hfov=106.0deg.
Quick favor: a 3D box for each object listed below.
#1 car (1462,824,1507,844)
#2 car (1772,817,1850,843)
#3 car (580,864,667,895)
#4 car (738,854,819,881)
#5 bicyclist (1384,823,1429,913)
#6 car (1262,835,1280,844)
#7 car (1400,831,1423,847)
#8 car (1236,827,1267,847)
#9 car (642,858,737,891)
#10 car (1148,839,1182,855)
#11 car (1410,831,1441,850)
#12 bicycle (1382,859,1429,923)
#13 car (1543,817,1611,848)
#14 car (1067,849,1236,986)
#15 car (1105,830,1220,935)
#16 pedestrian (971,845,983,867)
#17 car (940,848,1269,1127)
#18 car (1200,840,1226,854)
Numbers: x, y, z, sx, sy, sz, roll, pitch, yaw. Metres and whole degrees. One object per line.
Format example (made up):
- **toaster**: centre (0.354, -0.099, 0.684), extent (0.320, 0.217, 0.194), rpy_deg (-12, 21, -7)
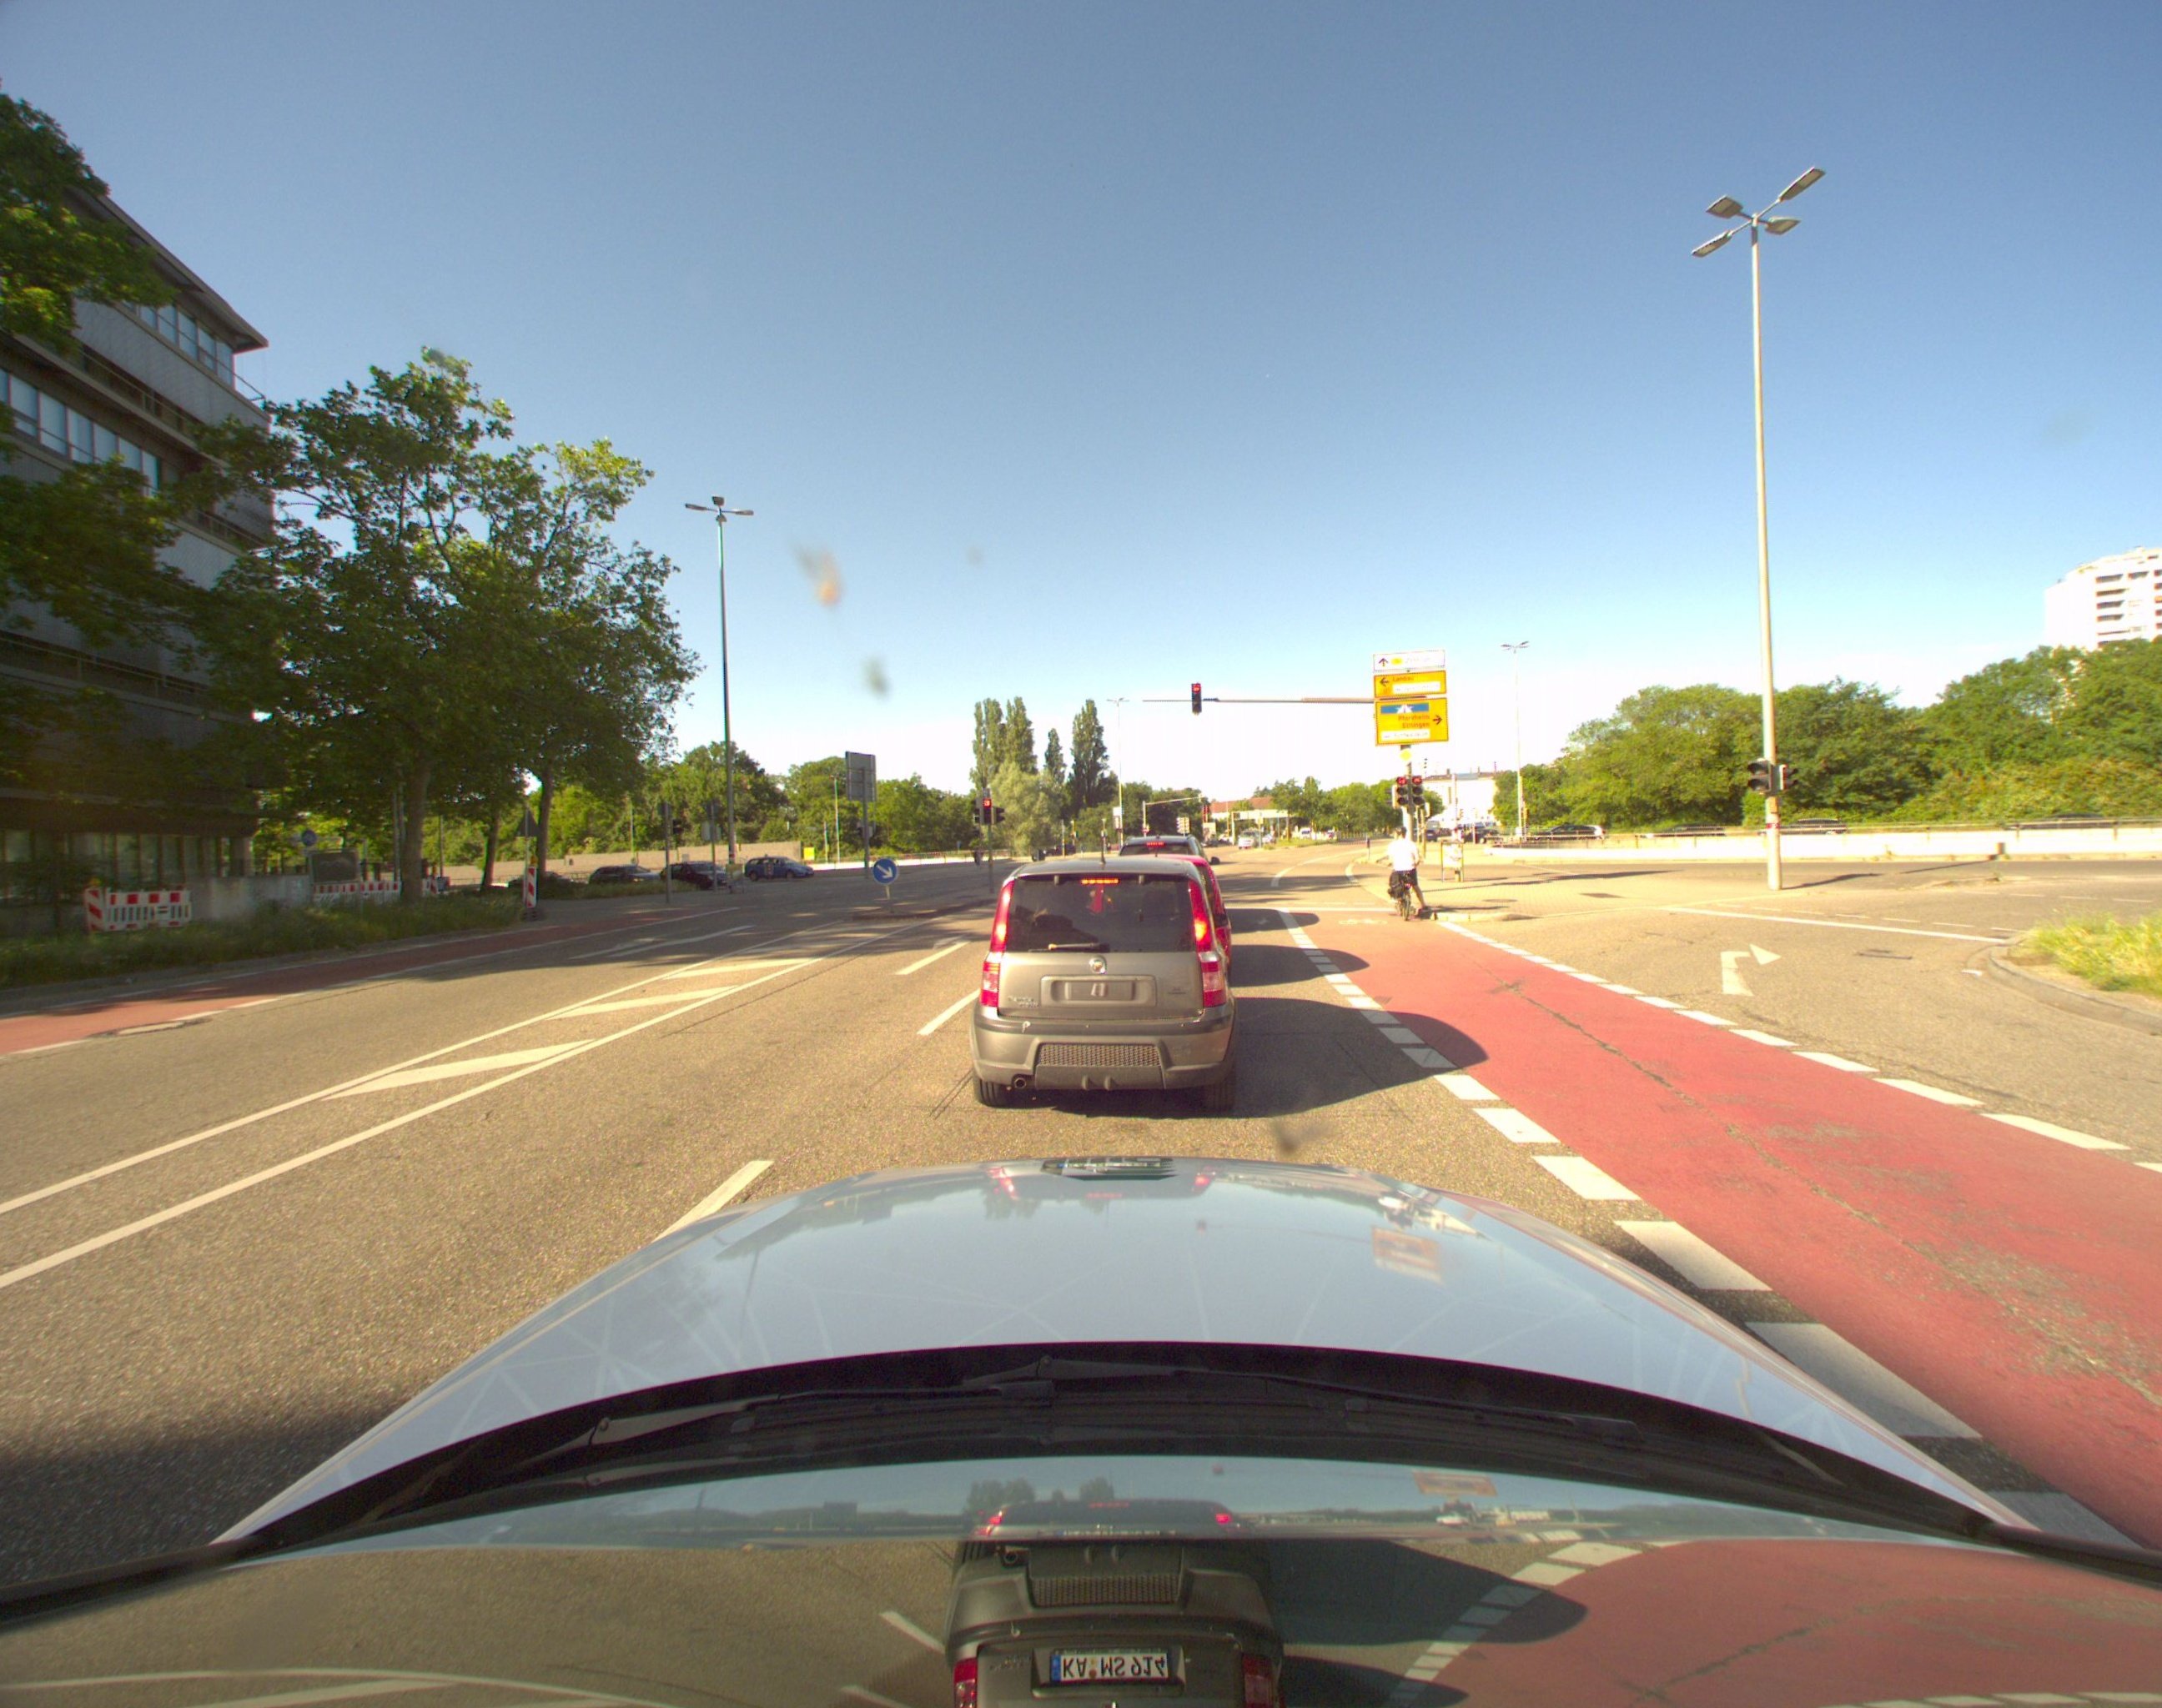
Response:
- **car**: centre (37.747, -1.874, 76.276), extent (1.989, 1.661, 3.996), rpy_deg (-3, 2, -3)
- **car**: centre (50.617, -1.670, 56.550), extent (3.948, 1.618, 1.739), rpy_deg (-1, 1, 40)
- **car**: centre (-24.961, 1.391, 44.430), extent (4.396, 1.438, 1.836), rpy_deg (-2, 1, 24)
- **car**: centre (-18.861, 0.829, 50.814), extent (4.403, 1.438, 1.834), rpy_deg (-2, 0, 15)
- **bicyclist**: centre (6.430, 0.267, 16.055), extent (0.792, 1.705, 1.091), rpy_deg (0, 0, 23)
- **car**: centre (35.652, -2.667, 152.520), extent (1.994, 1.545, 4.917), rpy_deg (-2, 1, 28)
- **car**: centre (39.659, -1.751, 97.732), extent (1.979, 1.750, 4.014), rpy_deg (-1, -2, 13)
- **car**: centre (18.128, -1.736, 86.458), extent (1.994, 1.855, 4.914), rpy_deg (-2, -2, 26)
- **car**: centre (-19.644, 1.040, 40.872), extent (4.396, 1.438, 1.836), rpy_deg (-2, 1, 24)
- **car**: centre (11.017, -0.909, 106.315), extent (1.993, 1.855, 4.916), rpy_deg (-3, -2, 41)
- **car**: centre (37.772, -1.478, 89.363), extent (2.001, 1.855, 4.898), rpy_deg (-1, -2, 9)
- **bicycle**: centre (6.385, 0.683, 15.943), extent (0.792, 1.110, 2.415), rpy_deg (0, 0, 23)
- **car**: centre (36.389, -1.552, 59.748), extent (3.948, 2.014, 2.012), rpy_deg (-3, -2, 40)
- **car**: centre (0.923, 0.685, 10.830), extent (1.811, 1.479, 4.005), rpy_deg (0, 0, 5)
- **car**: centre (1.769, 0.445, 16.194), extent (1.857, 1.790, 4.428), rpy_deg (0, 1, 11)
- **pedestrian**: centre (-7.692, 0.180, 60.468), extent (0.684, 1.538, 1.365), rpy_deg (-1, -5, 0)
- **car**: centre (0.310, 0.709, 6.484), extent (1.811, 1.489, 4.006), rpy_deg (0, 1, 5)
- **car**: centre (19.125, -1.010, 117.748), extent (1.993, 1.855, 4.916), rpy_deg (-2, -2, 31)
